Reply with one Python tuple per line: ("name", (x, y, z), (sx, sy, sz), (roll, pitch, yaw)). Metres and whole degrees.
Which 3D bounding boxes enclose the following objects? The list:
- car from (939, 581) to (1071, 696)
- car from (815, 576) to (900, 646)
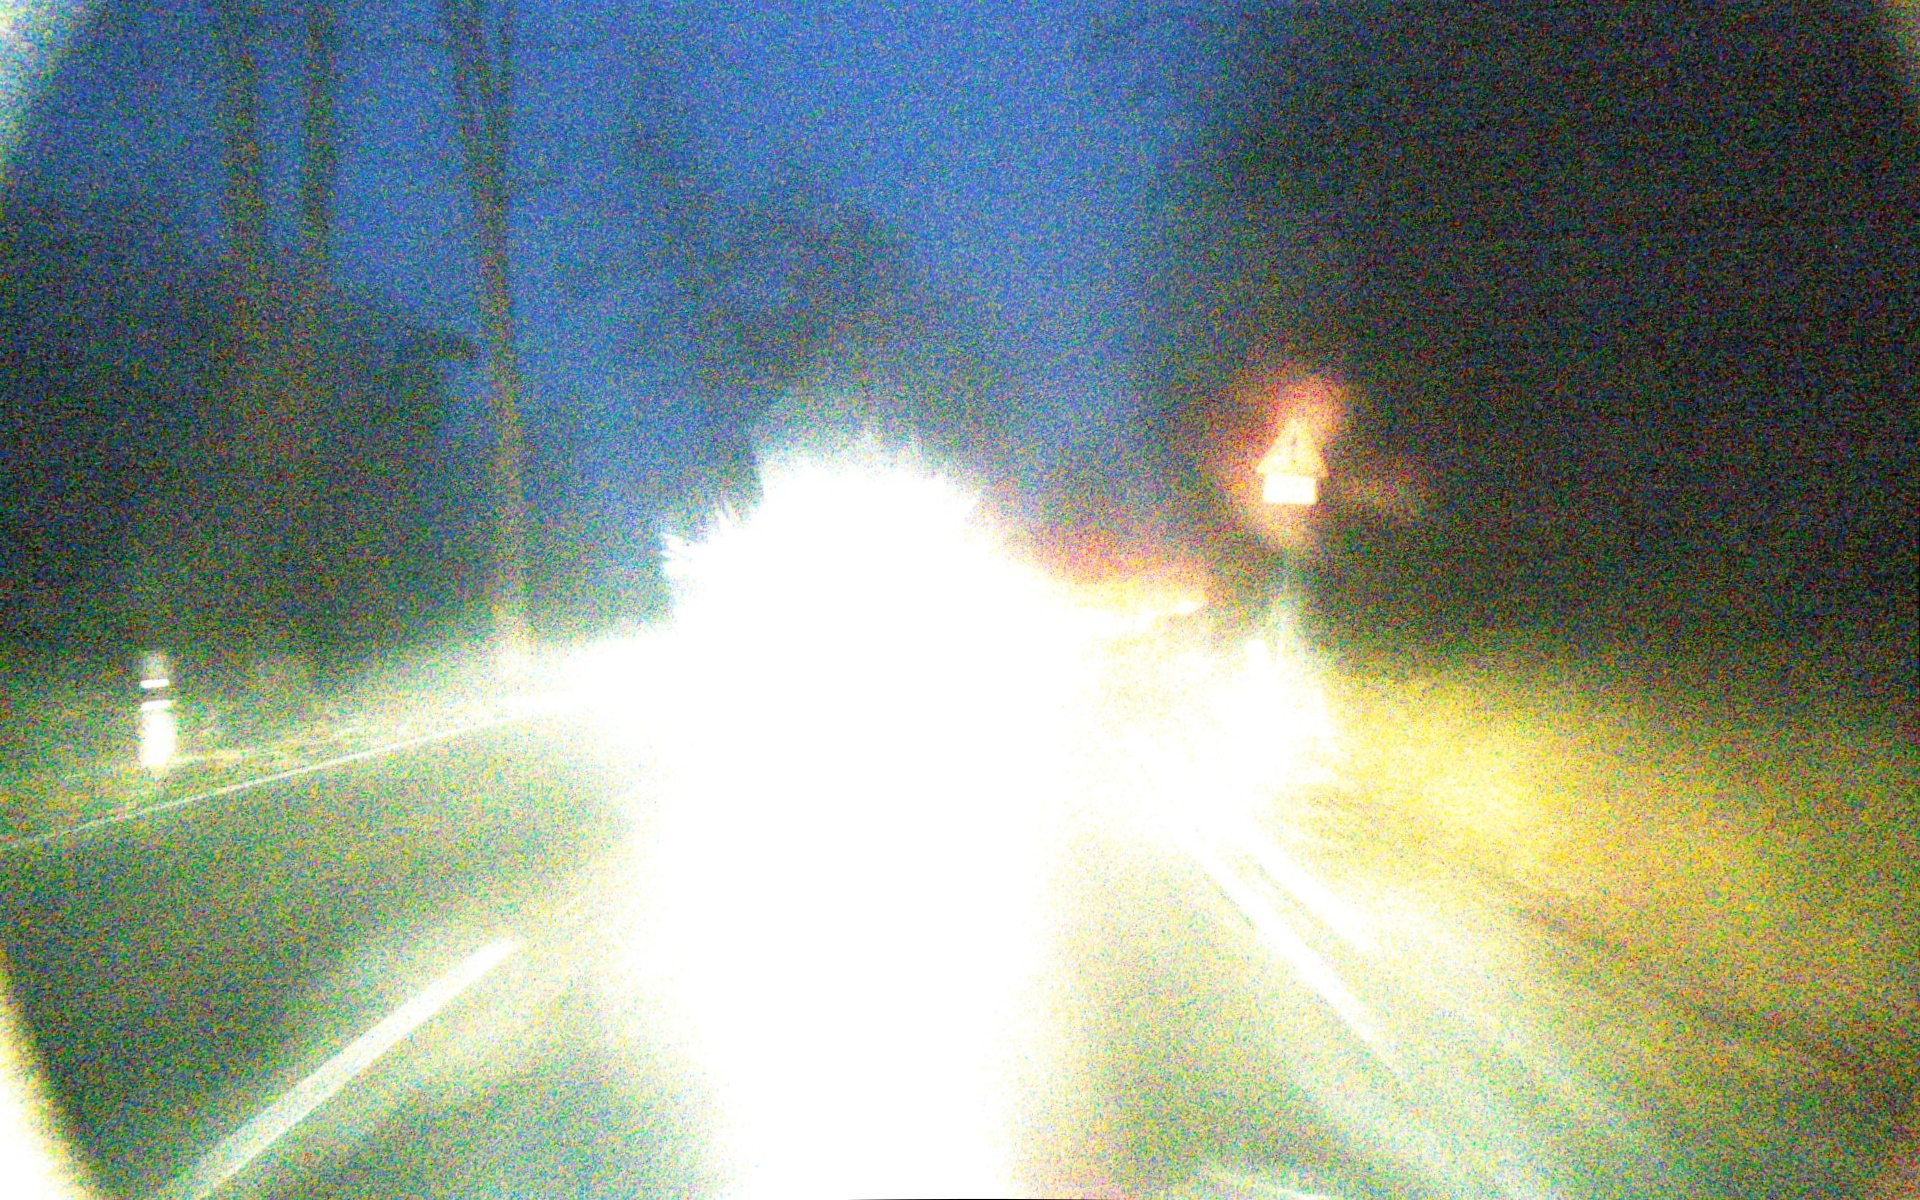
("car", (0.737, 0.627, 29.740), (1.954, 1.838, 3.915), (-3, 1, -3))
("car", (-2.641, 0.242, 43.541), (1.804, 1.750, 3.961), (0, 1, 2))
